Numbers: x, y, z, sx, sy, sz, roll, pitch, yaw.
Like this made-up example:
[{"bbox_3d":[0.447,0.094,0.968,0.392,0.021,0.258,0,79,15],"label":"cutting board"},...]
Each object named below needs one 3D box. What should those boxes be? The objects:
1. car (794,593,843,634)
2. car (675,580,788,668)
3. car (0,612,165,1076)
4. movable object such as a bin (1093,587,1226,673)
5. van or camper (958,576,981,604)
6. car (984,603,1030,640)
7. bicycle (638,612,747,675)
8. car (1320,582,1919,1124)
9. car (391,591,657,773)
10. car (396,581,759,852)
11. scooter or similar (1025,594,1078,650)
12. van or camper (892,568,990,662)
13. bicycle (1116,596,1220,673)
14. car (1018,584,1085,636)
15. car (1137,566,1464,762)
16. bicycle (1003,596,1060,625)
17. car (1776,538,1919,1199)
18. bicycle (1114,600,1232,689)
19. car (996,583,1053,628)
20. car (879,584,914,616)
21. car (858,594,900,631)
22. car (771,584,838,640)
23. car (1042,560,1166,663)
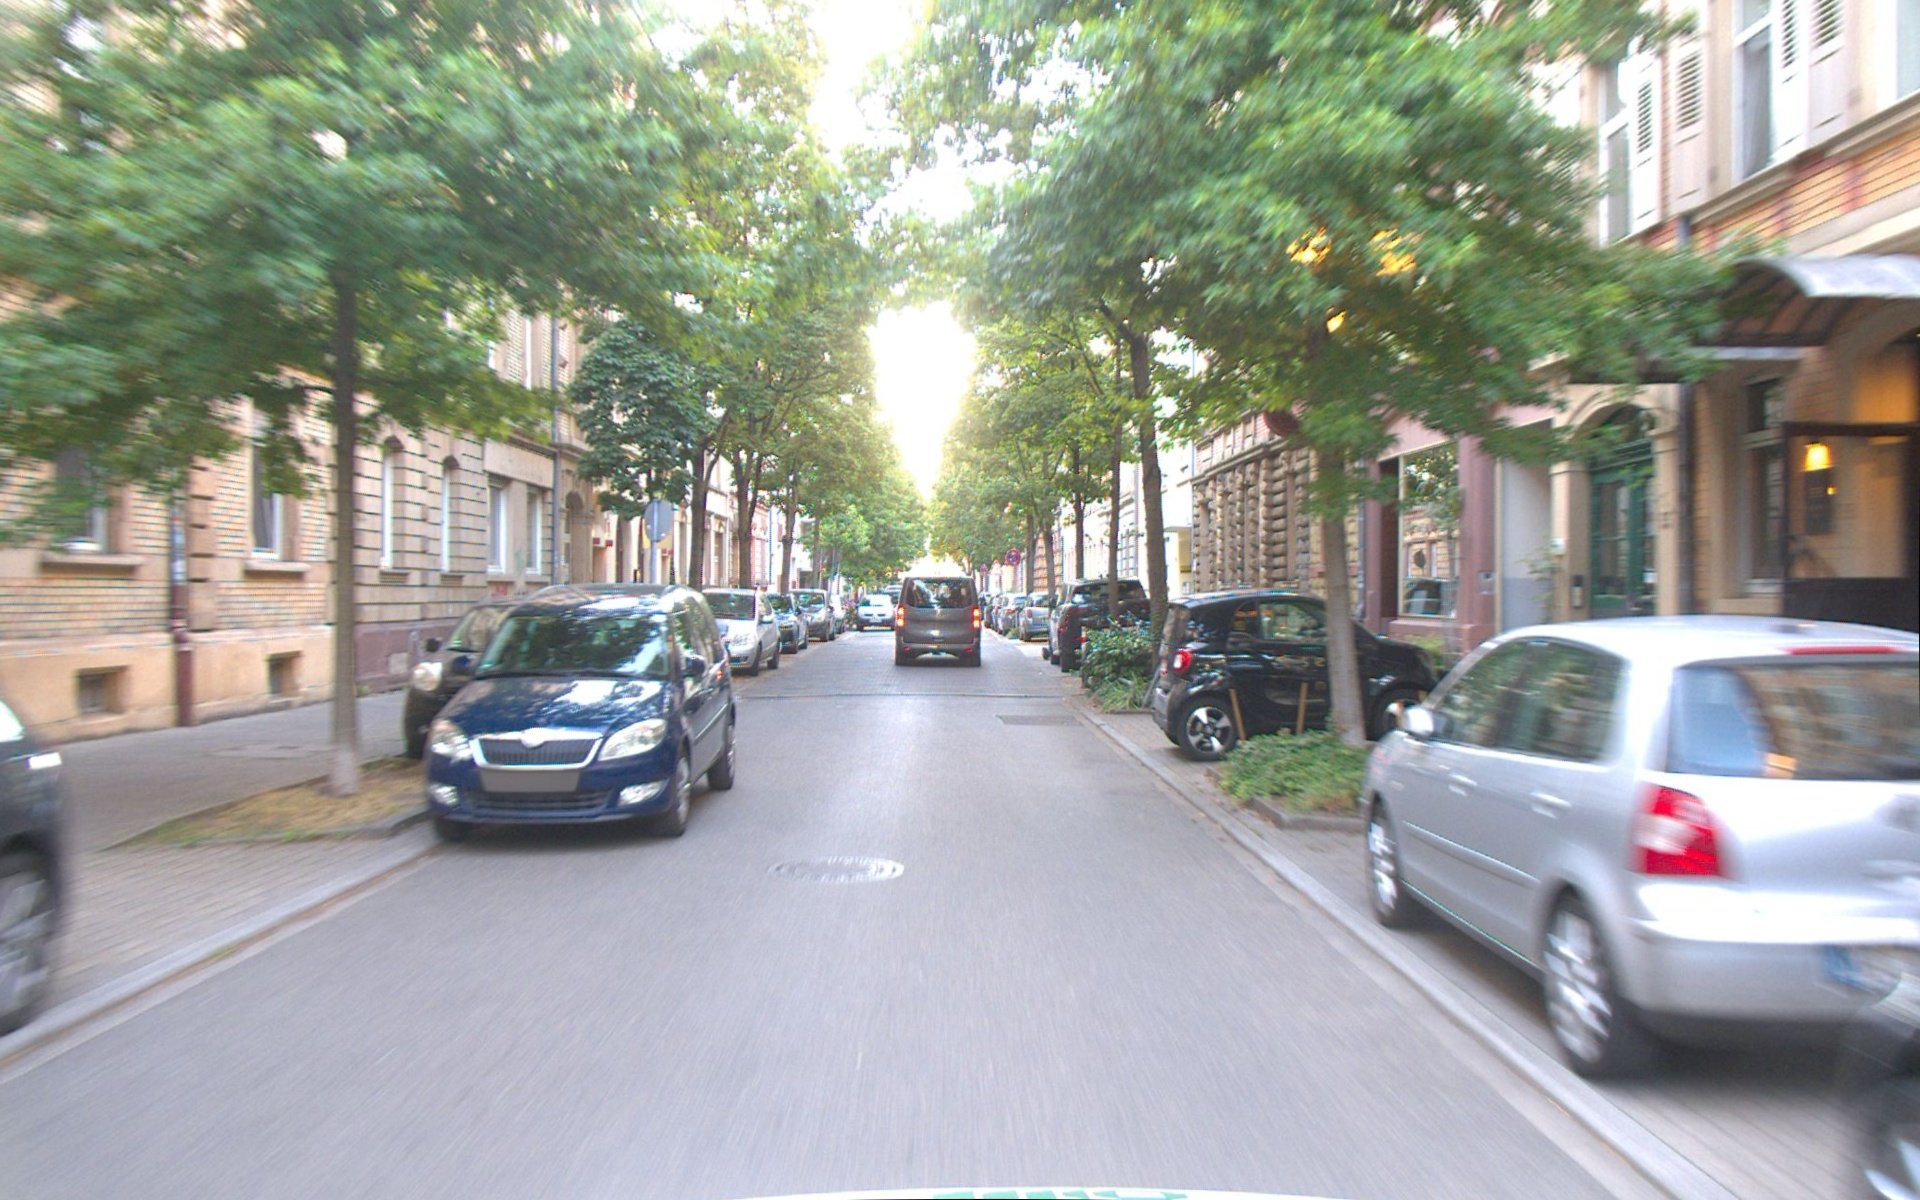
[{"bbox_3d":[-5.311,0.501,62.431,1.555,1.462,3.565,1,0,-1],"label":"car"},{"bbox_3d":[-4.473,0.431,32.835,1.641,1.635,3.862,0,1,1],"label":"car"},{"bbox_3d":[-3.958,0.816,4.411,1.731,1.488,4.257,0,0,-2],"label":"car"},{"bbox_3d":[3.466,0.512,28.900,2.170,1.328,0.771,-4,0,2],"label":"movable object such as a bin"},{"bbox_3d":[0.918,-0.978,162.821,1.953,2.644,5.422,0,0,-2],"label":"van or camper"},{"bbox_3d":[1.988,0.893,70.907,1.730,1.439,4.473,-3,0,0],"label":"car"},{"bbox_3d":[-4.759,0.778,29.424,1.836,1.078,0.593,1,0,-20],"label":"bicycle"},{"bbox_3d":[2.806,0.702,6.783,1.698,1.517,4.103,-1,0,-1],"label":"car"},{"bbox_3d":[-4.045,0.688,15.932,1.657,1.528,3.710,1,0,-2],"label":"car"},{"bbox_3d":[-2.546,0.676,12.006,1.688,1.601,4.219,-1,0,-1],"label":"car"},{"bbox_3d":[2.120,0.505,38.231,0.663,1.211,1.111,-3,0,38],"label":"scooter or similar"},{"bbox_3d":[-0.360,0.302,36.290,1.993,1.930,4.271,0,0,1],"label":"van or camper"},{"bbox_3d":[3.432,0.564,27.404,1.661,1.219,0.582,-1,0,2],"label":"bicycle"},{"bbox_3d":[2.790,0.286,51.346,1.723,1.488,4.307,-1,1,-1],"label":"car"},{"bbox_3d":[3.245,0.585,16.182,2.741,1.627,1.800,-4,0,0],"label":"car"},{"bbox_3d":[2.495,0.361,57.726,1.889,0.999,0.634,-1,0,-23],"label":"bicycle"},{"bbox_3d":[2.780,0.668,2.407,1.559,1.588,3.121,0,0,-2],"label":"car"},{"bbox_3d":[3.415,0.707,26.588,1.726,1.316,0.801,-3,1,-1],"label":"bicycle"},{"bbox_3d":[2.317,0.170,60.622,1.682,1.502,4.366,-2,1,-2],"label":"car"},{"bbox_3d":[-3.254,-0.008,84.591,1.630,1.590,3.997,-1,0,-4],"label":"car"},{"bbox_3d":[-3.274,0.487,67.326,1.548,1.445,3.752,-1,0,-1],"label":"car"},{"bbox_3d":[-4.783,0.345,51.286,1.671,1.608,4.078,1,1,0],"label":"car"},{"bbox_3d":[2.874,0.198,34.014,1.973,1.865,4.810,-3,1,-1],"label":"car"}]
